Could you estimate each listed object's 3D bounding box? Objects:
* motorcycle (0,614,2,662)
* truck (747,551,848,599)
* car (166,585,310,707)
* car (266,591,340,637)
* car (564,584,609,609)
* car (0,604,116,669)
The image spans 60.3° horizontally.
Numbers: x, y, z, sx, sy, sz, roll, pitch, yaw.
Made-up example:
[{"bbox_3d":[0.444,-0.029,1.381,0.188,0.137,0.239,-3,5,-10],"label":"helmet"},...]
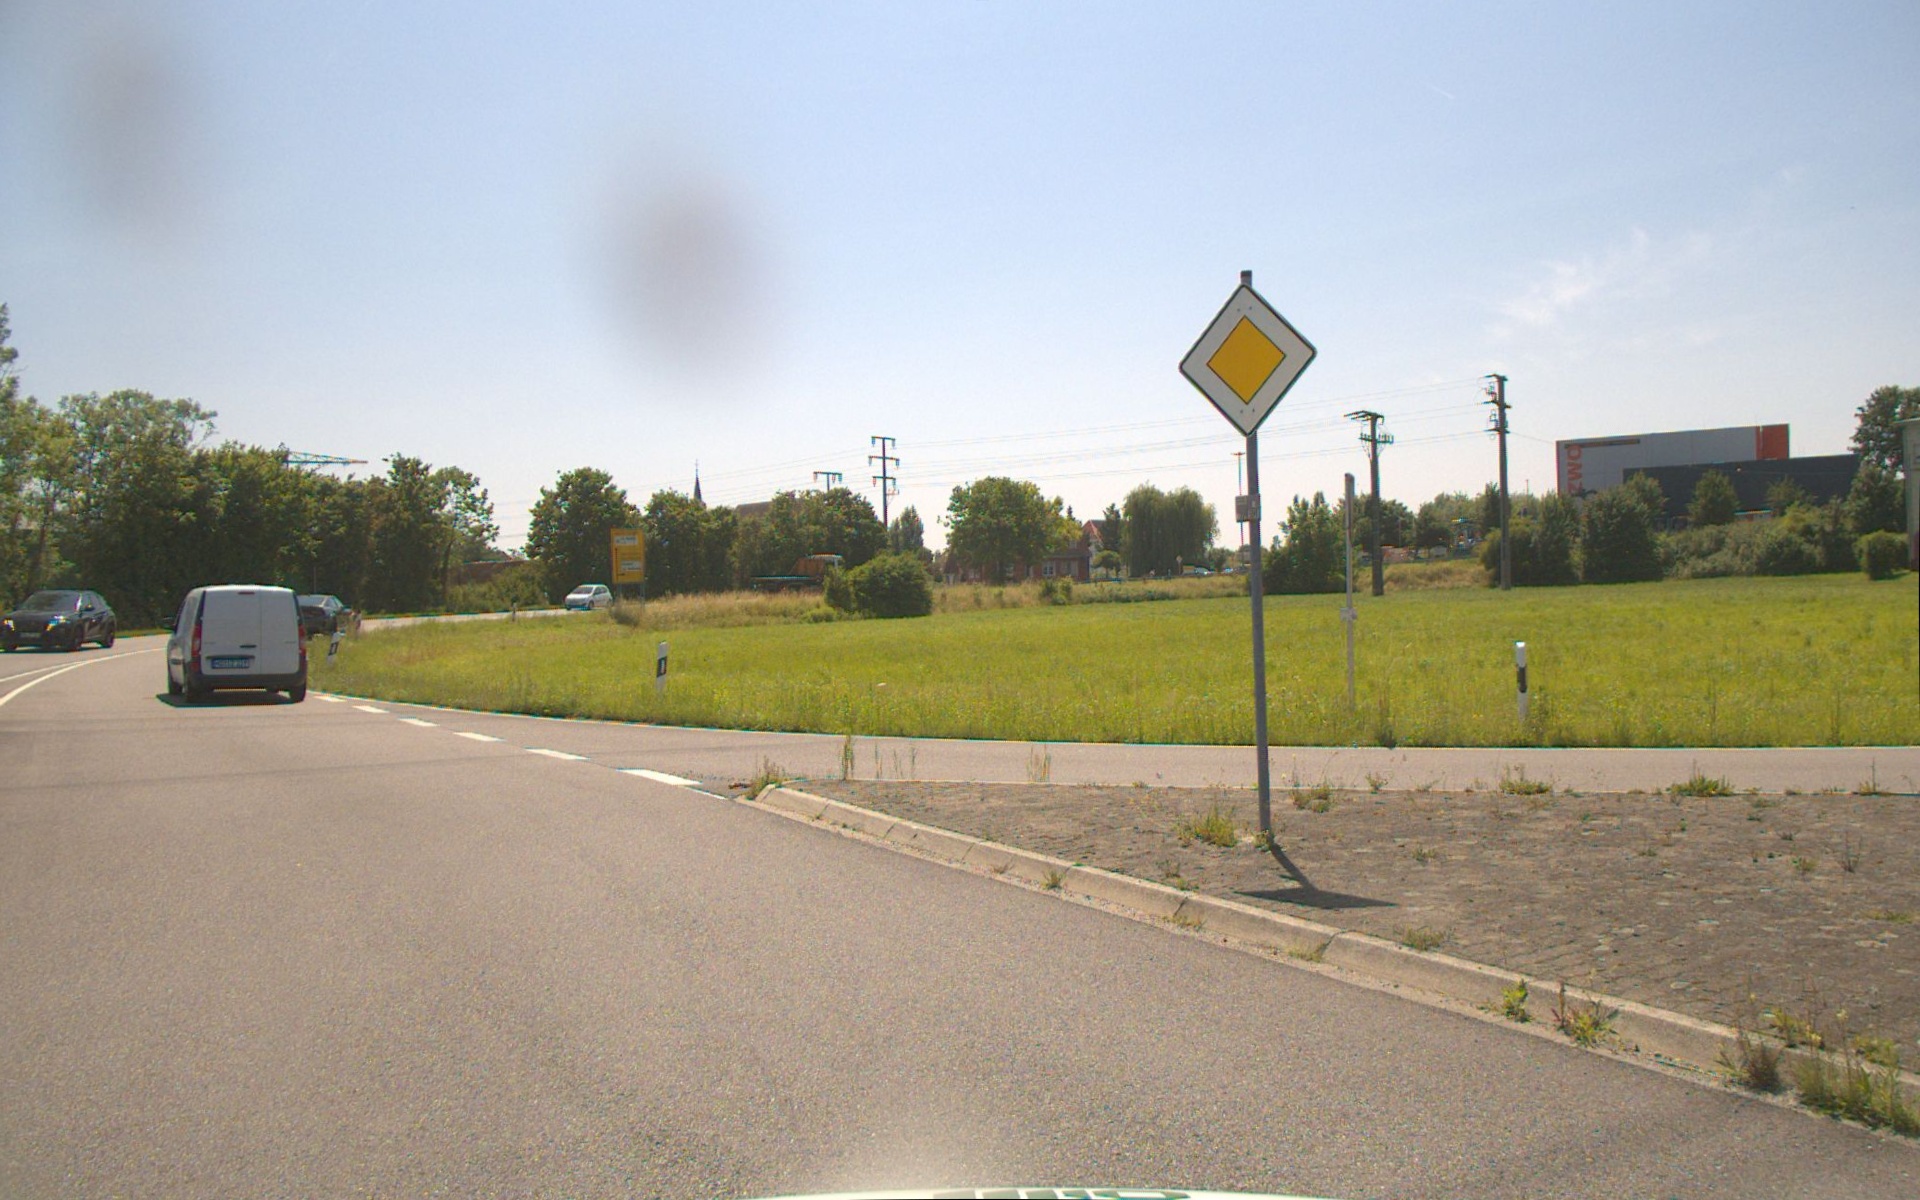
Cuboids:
[{"bbox_3d":[-23.409,0.920,39.089,0.769,1.143,2.419,0,0,-16],"label":"motorcycle"},{"bbox_3d":[-11.553,-1.726,118.390,3.037,3.192,8.794,0,-1,26],"label":"truck"},{"bbox_3d":[-11.702,0.706,26.695,1.881,1.763,3.788,-2,0,-27],"label":"car"},{"bbox_3d":[-22.427,0.469,56.597,1.689,1.445,3.734,-2,0,-12],"label":"car"},{"bbox_3d":[-22.501,-0.214,99.743,1.504,1.468,3.610,1,0,8],"label":"car"},{"bbox_3d":[-24.897,0.960,45.673,1.671,1.666,4.238,0,0,-11],"label":"car"}]
